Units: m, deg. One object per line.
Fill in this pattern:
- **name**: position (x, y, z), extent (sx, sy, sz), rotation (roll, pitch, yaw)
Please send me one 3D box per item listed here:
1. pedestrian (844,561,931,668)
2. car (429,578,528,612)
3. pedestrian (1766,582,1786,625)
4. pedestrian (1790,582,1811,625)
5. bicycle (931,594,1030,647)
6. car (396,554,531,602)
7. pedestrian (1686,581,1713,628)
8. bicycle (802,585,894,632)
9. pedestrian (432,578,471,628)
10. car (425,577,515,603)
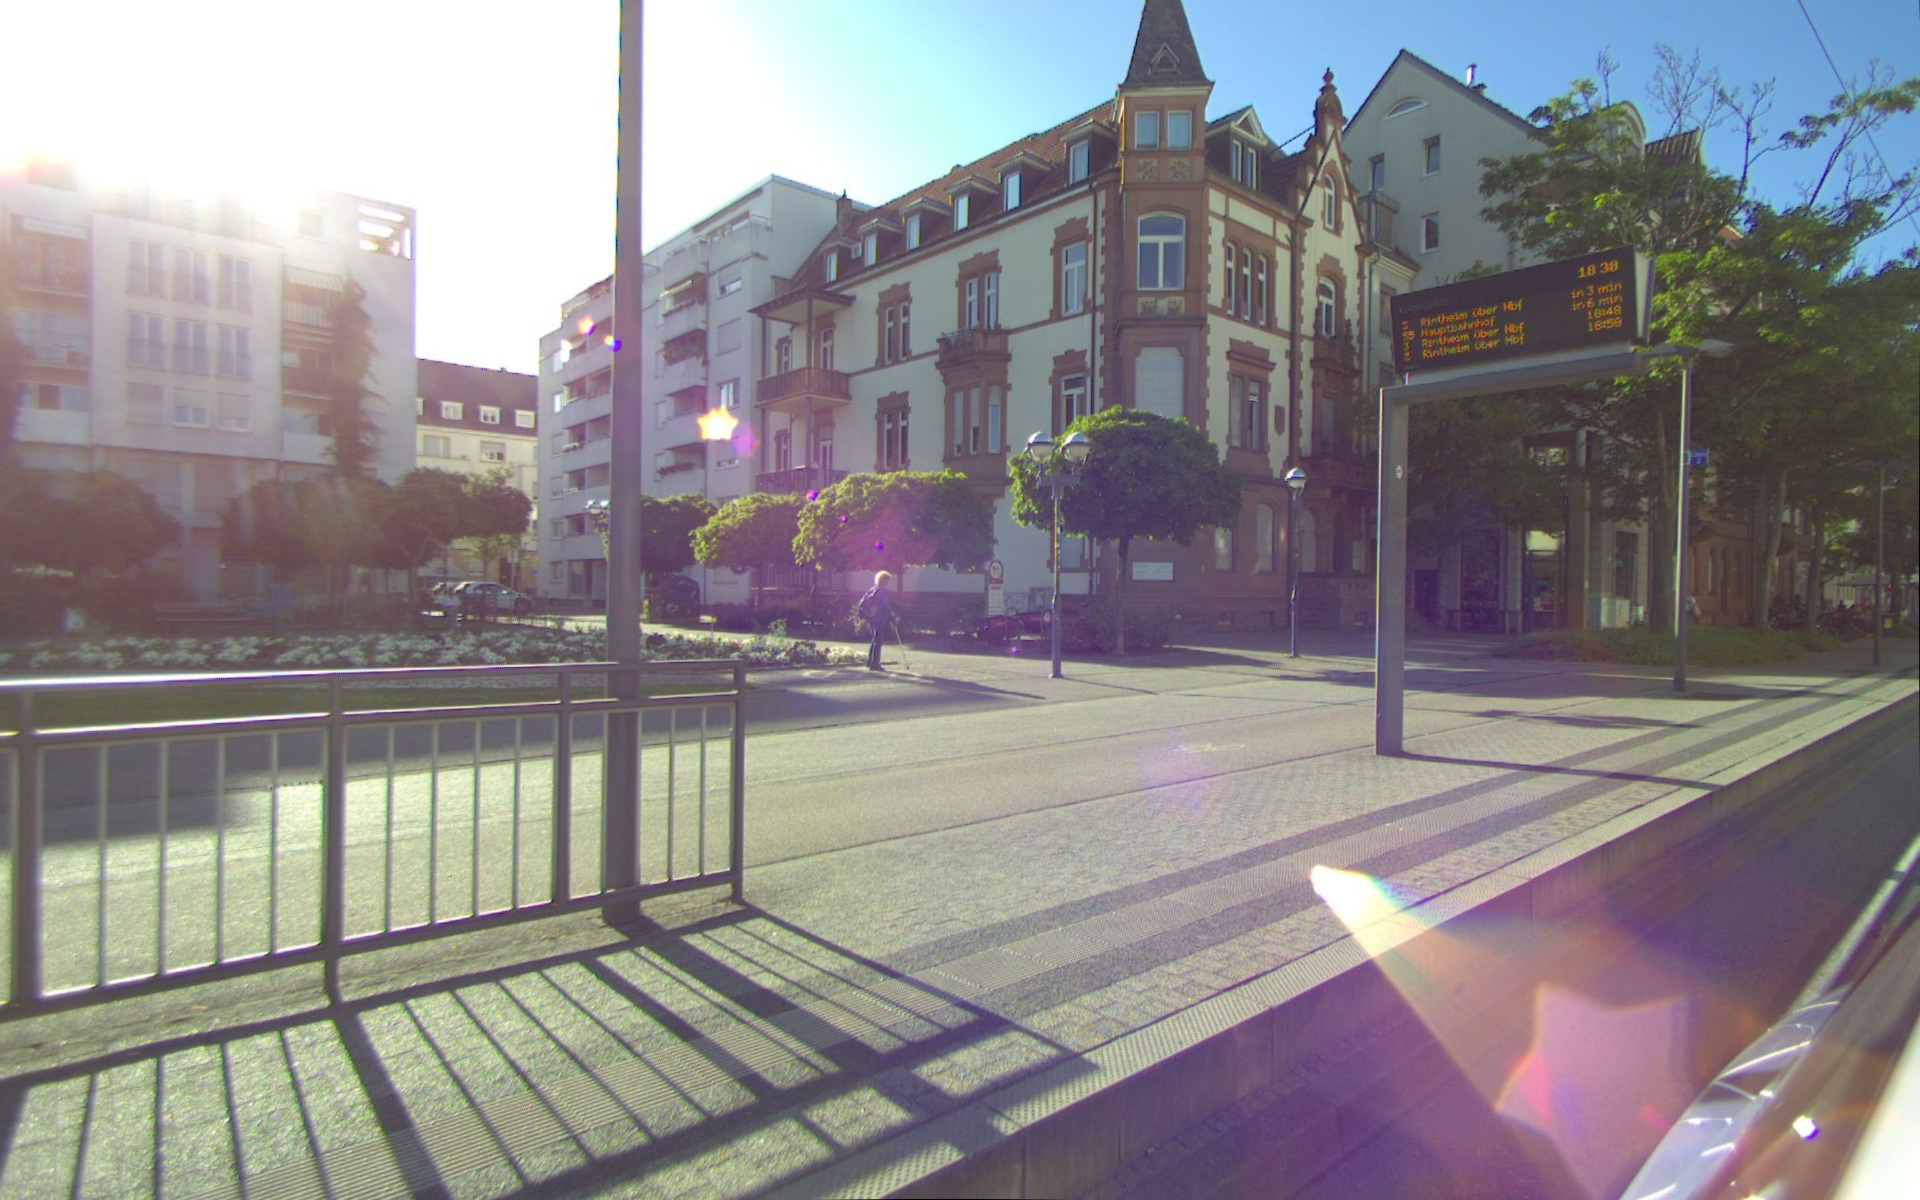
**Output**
- **pedestrian**: position (-1.186, 0.217, 16.623), extent (1.064, 1.689, 0.944), rotation (1, 0, 37)
- **car**: position (-22.572, -0.257, 47.466), extent (3.923, 1.536, 2.001), rotation (0, 1, -34)
- **pedestrian**: position (39.196, 0.169, 48.605), extent (0.549, 2.039, 0.654), rotation (0, 0, -38)
- **pedestrian**: position (39.792, 0.159, 47.921), extent (0.549, 2.039, 0.654), rotation (0, 0, -38)
- **bicycle**: position (0.516, 0.452, 23.825), extent (0.786, 1.081, 2.767), rotation (1, 2, 40)
- **car**: position (-27.921, -1.214, 57.092), extent (6.290, 2.587, 2.808), rotation (0, 1, -44)
- **pedestrian**: position (28.193, 0.157, 38.596), extent (0.740, 1.757, 0.864), rotation (1, 0, 43)
- **bicycle**: position (-3.381, 0.238, 30.780), extent (2.864, 1.389, 0.745), rotation (0, 1, -41)
- **pedestrian**: position (-14.742, 0.070, 29.323), extent (0.917, 1.429, 1.529), rotation (0, 1, -30)
- **car**: position (-25.199, -0.517, 52.074), extent (3.923, 1.304, 2.001), rotation (0, 1, -34)
